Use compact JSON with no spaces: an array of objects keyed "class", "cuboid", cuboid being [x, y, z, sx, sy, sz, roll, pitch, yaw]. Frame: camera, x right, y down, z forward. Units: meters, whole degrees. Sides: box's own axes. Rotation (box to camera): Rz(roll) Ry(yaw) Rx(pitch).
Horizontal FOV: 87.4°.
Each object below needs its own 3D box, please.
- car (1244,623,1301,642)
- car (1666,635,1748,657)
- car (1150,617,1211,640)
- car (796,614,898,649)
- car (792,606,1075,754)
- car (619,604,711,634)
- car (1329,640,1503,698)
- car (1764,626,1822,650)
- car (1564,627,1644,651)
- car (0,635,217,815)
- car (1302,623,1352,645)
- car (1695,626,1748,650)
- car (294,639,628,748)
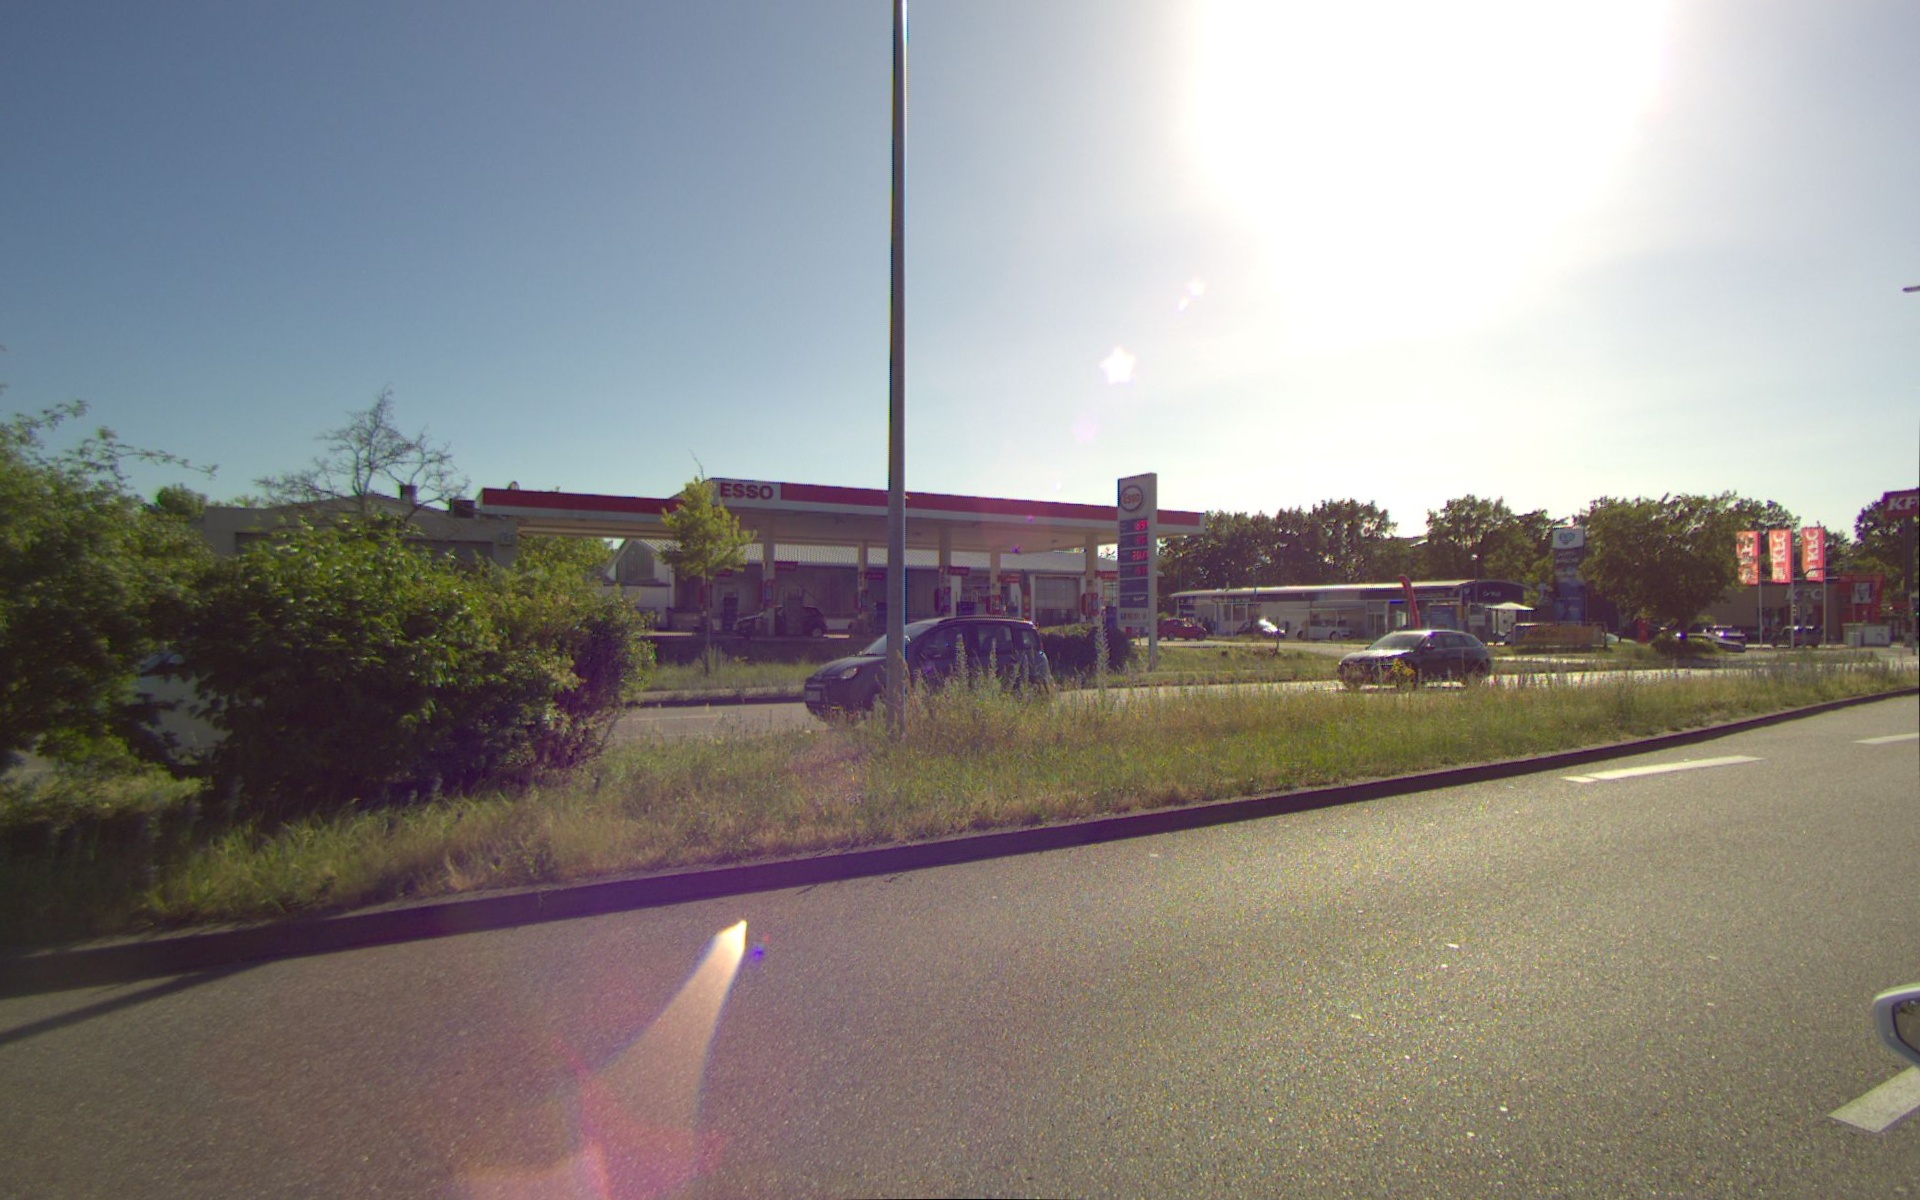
[{"class":"car","cuboid":[23.476,2.419,75.569,1.736,1.268,4.020,2,0,-31]},{"class":"car","cuboid":[50.490,3.104,67.929,1.850,1.268,4.062,2,0,-31]},{"class":"car","cuboid":[15.153,1.978,69.121,3.948,1.491,1.521,2,0,-24]},{"class":"car","cuboid":[-4.849,1.338,43.222,3.953,1.423,1.984,1,-1,-31]},{"class":"car","cuboid":[-0.347,1.059,14.235,3.663,1.838,1.637,2,0,-30]},{"class":"car","cuboid":[-16.104,1.060,54.830,4.489,1.486,1.984,2,0,-30]},{"class":"car","cuboid":[11.544,1.721,25.351,4.627,1.351,1.638,2,-4,-30]},{"class":"car","cuboid":[66.152,2.991,79.861,1.896,1.763,4.099,2,0,14]},{"class":"car","cuboid":[47.460,2.862,74.078,1.914,1.600,4.599,2,0,-31]},{"class":"car","cuboid":[-8.627,1.010,8.414,3.663,1.372,1.560,2,0,-30]},{"class":"car","cuboid":[26.223,2.415,71.863,1.516,1.461,3.123,2,0,-31]},{"class":"car","cuboid":[61.373,3.017,81.062,1.896,1.763,4.099,2,0,14]},{"class":"car","cuboid":[-6.811,1.227,13.953,3.953,1.287,1.395,2,0,-30]}]
